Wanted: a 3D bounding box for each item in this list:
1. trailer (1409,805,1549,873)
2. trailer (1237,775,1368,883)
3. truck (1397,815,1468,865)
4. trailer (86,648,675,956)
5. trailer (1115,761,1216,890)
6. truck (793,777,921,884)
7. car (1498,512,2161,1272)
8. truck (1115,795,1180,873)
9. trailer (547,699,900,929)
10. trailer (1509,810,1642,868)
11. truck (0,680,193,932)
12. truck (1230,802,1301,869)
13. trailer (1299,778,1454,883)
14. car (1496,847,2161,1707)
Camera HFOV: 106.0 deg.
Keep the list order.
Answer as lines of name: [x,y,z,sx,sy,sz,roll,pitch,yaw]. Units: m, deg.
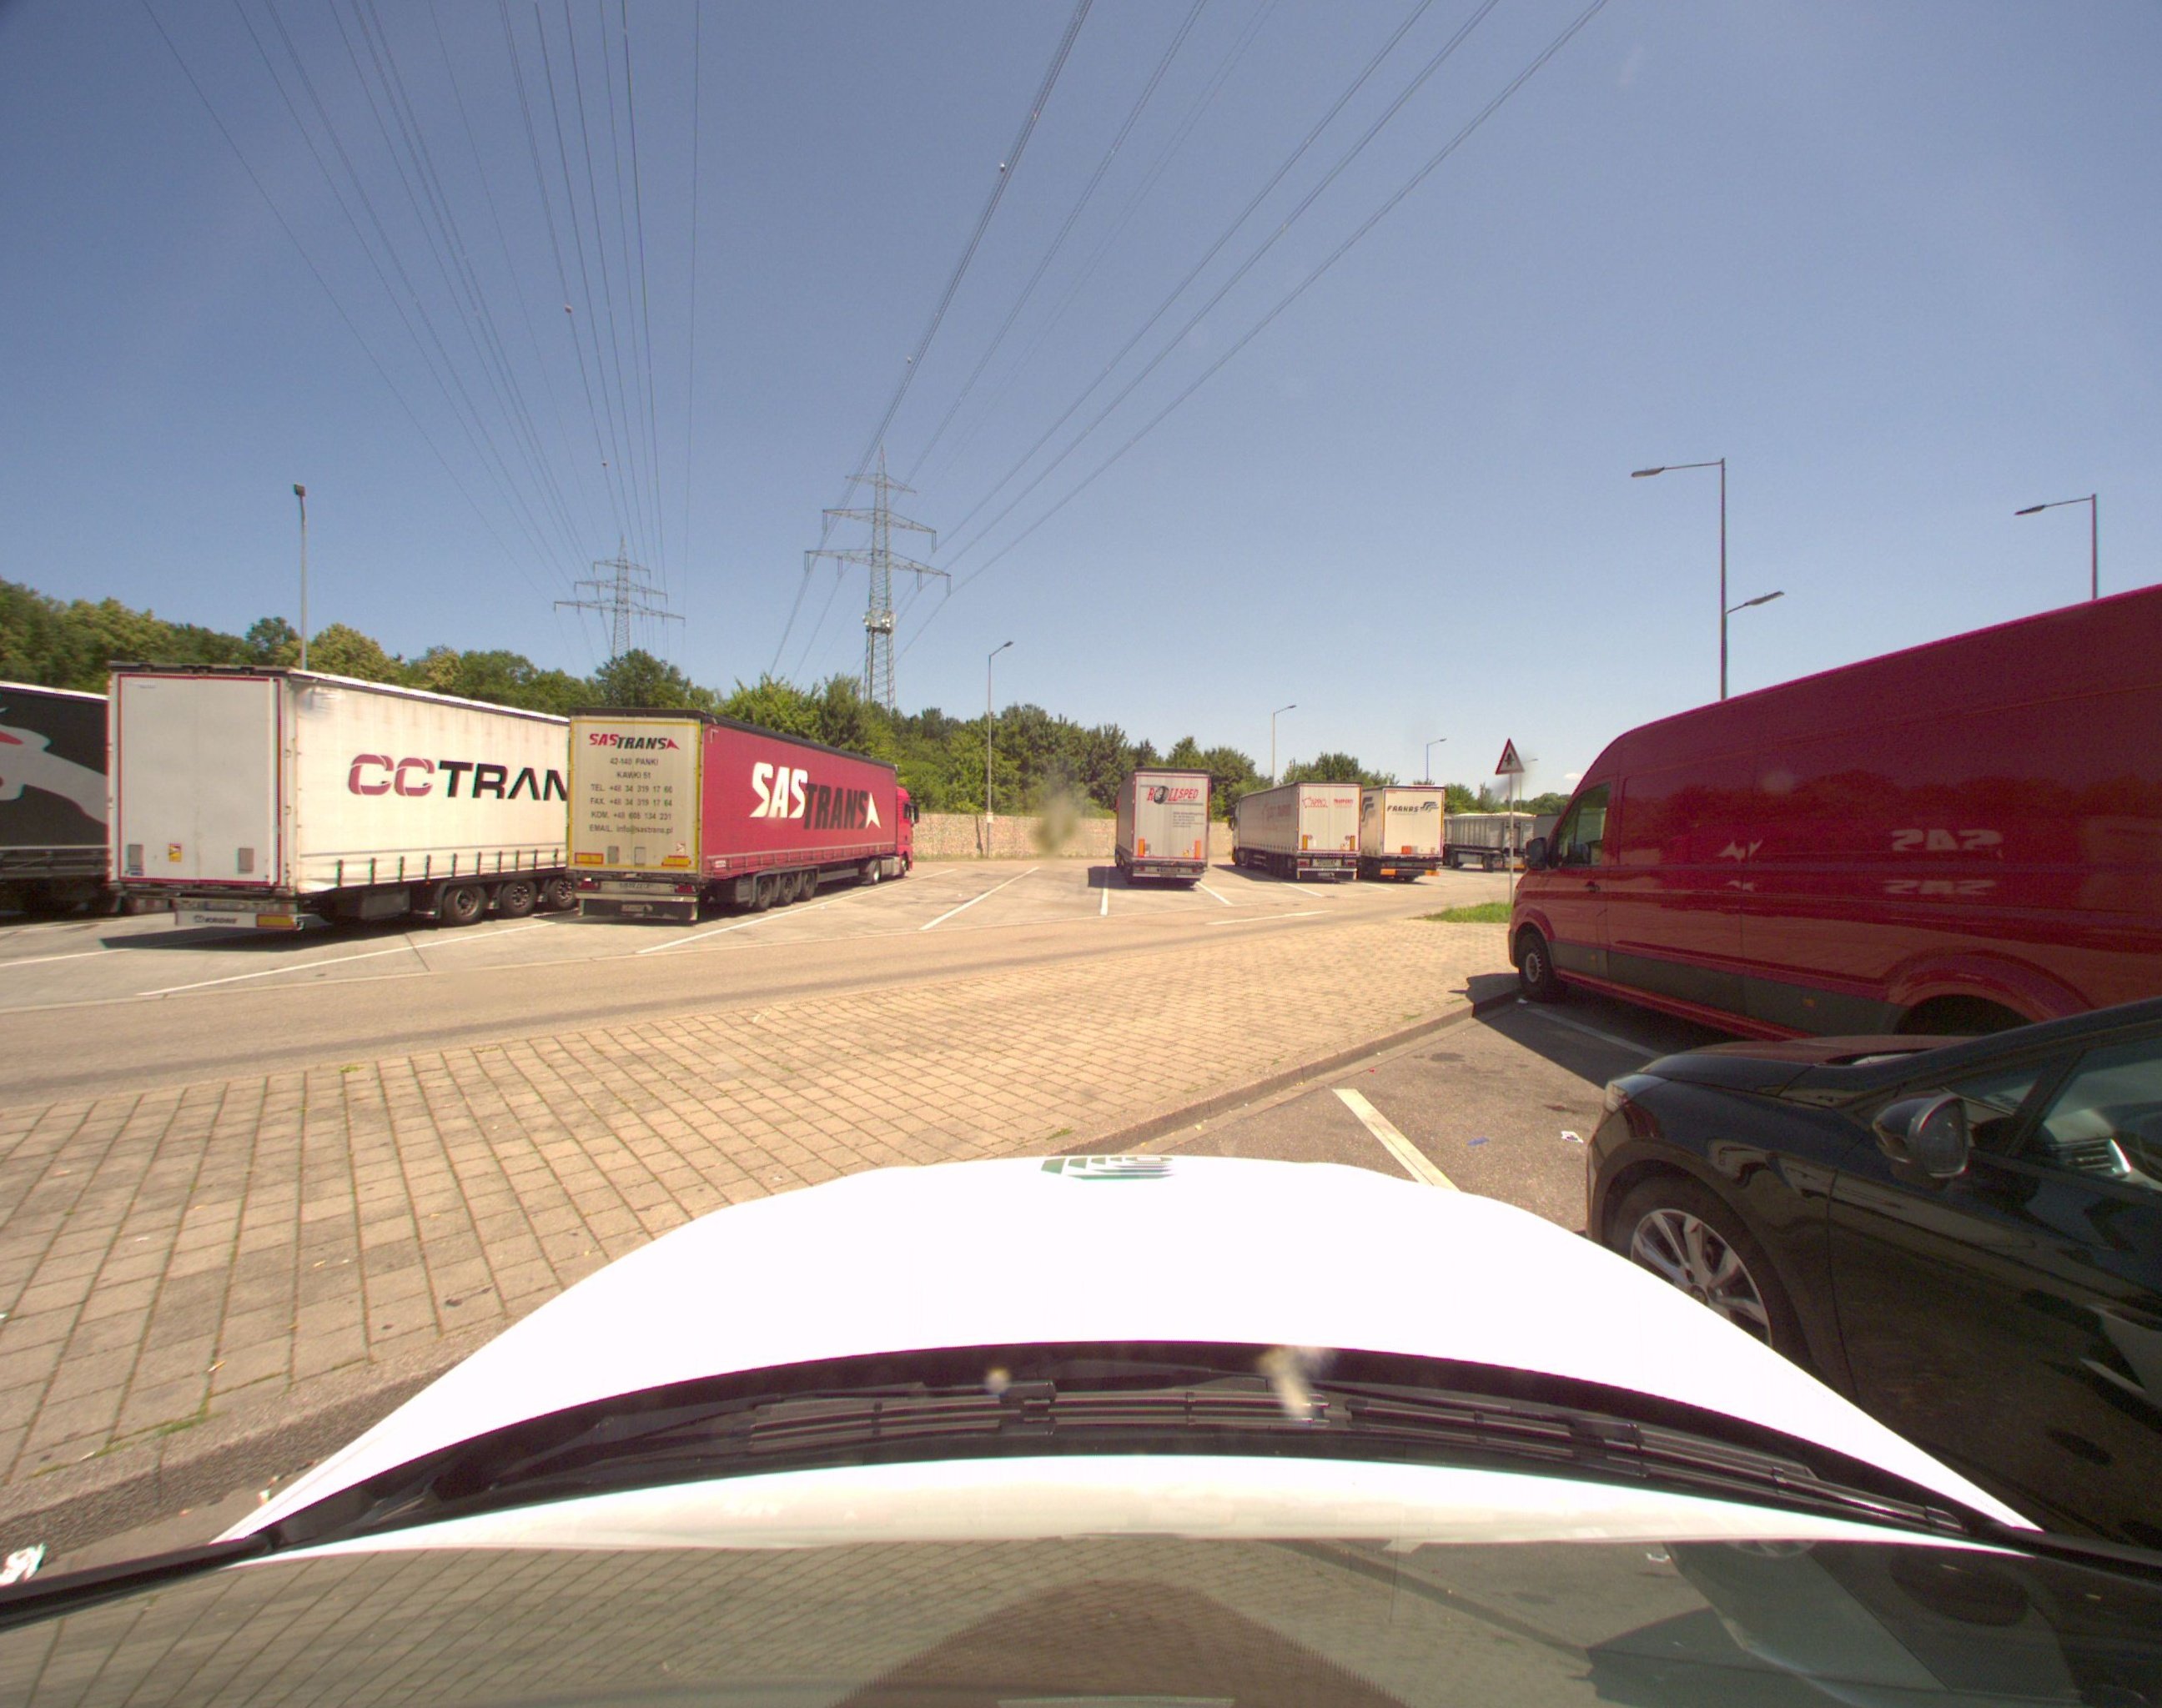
trailer: [24.532,-1.007,51.464,2.826,3.717,13.737,1,2,3]
trailer: [9.956,-1.157,38.633,2.828,4.132,13.730,1,2,2]
truck: [24.920,-1.015,57.962,2.840,3.364,5.488,1,1,3]
trailer: [-12.201,-0.889,16.336,2.718,4.209,10.175,1,2,2]
trailer: [3.026,-1.104,33.305,2.896,4.132,13.727,1,2,1]
truck: [-7.799,-0.836,29.102,2.841,3.427,5.486,1,1,2]
car: [5.165,0.084,5.499,2.055,2.695,6.405,-1,1,6]
truck: [3.169,-0.991,39.918,2.841,3.483,5.486,1,1,2]
trailer: [-8.037,-0.954,21.665,2.896,4.131,13.731,1,2,2]
trailer: [38.373,-1.245,64.149,2.826,4.049,13.737,1,2,3]
truck: [-18.577,-0.800,13.571,2.692,4.016,4.326,1,2,2]
truck: [10.164,-1.032,45.444,2.841,3.483,5.486,1,1,2]
trailer: [13.613,-1.125,39.297,2.828,4.132,13.730,1,2,2]
car: [2.522,0.752,1.189,1.733,1.482,3.813,-1,1,-3]
